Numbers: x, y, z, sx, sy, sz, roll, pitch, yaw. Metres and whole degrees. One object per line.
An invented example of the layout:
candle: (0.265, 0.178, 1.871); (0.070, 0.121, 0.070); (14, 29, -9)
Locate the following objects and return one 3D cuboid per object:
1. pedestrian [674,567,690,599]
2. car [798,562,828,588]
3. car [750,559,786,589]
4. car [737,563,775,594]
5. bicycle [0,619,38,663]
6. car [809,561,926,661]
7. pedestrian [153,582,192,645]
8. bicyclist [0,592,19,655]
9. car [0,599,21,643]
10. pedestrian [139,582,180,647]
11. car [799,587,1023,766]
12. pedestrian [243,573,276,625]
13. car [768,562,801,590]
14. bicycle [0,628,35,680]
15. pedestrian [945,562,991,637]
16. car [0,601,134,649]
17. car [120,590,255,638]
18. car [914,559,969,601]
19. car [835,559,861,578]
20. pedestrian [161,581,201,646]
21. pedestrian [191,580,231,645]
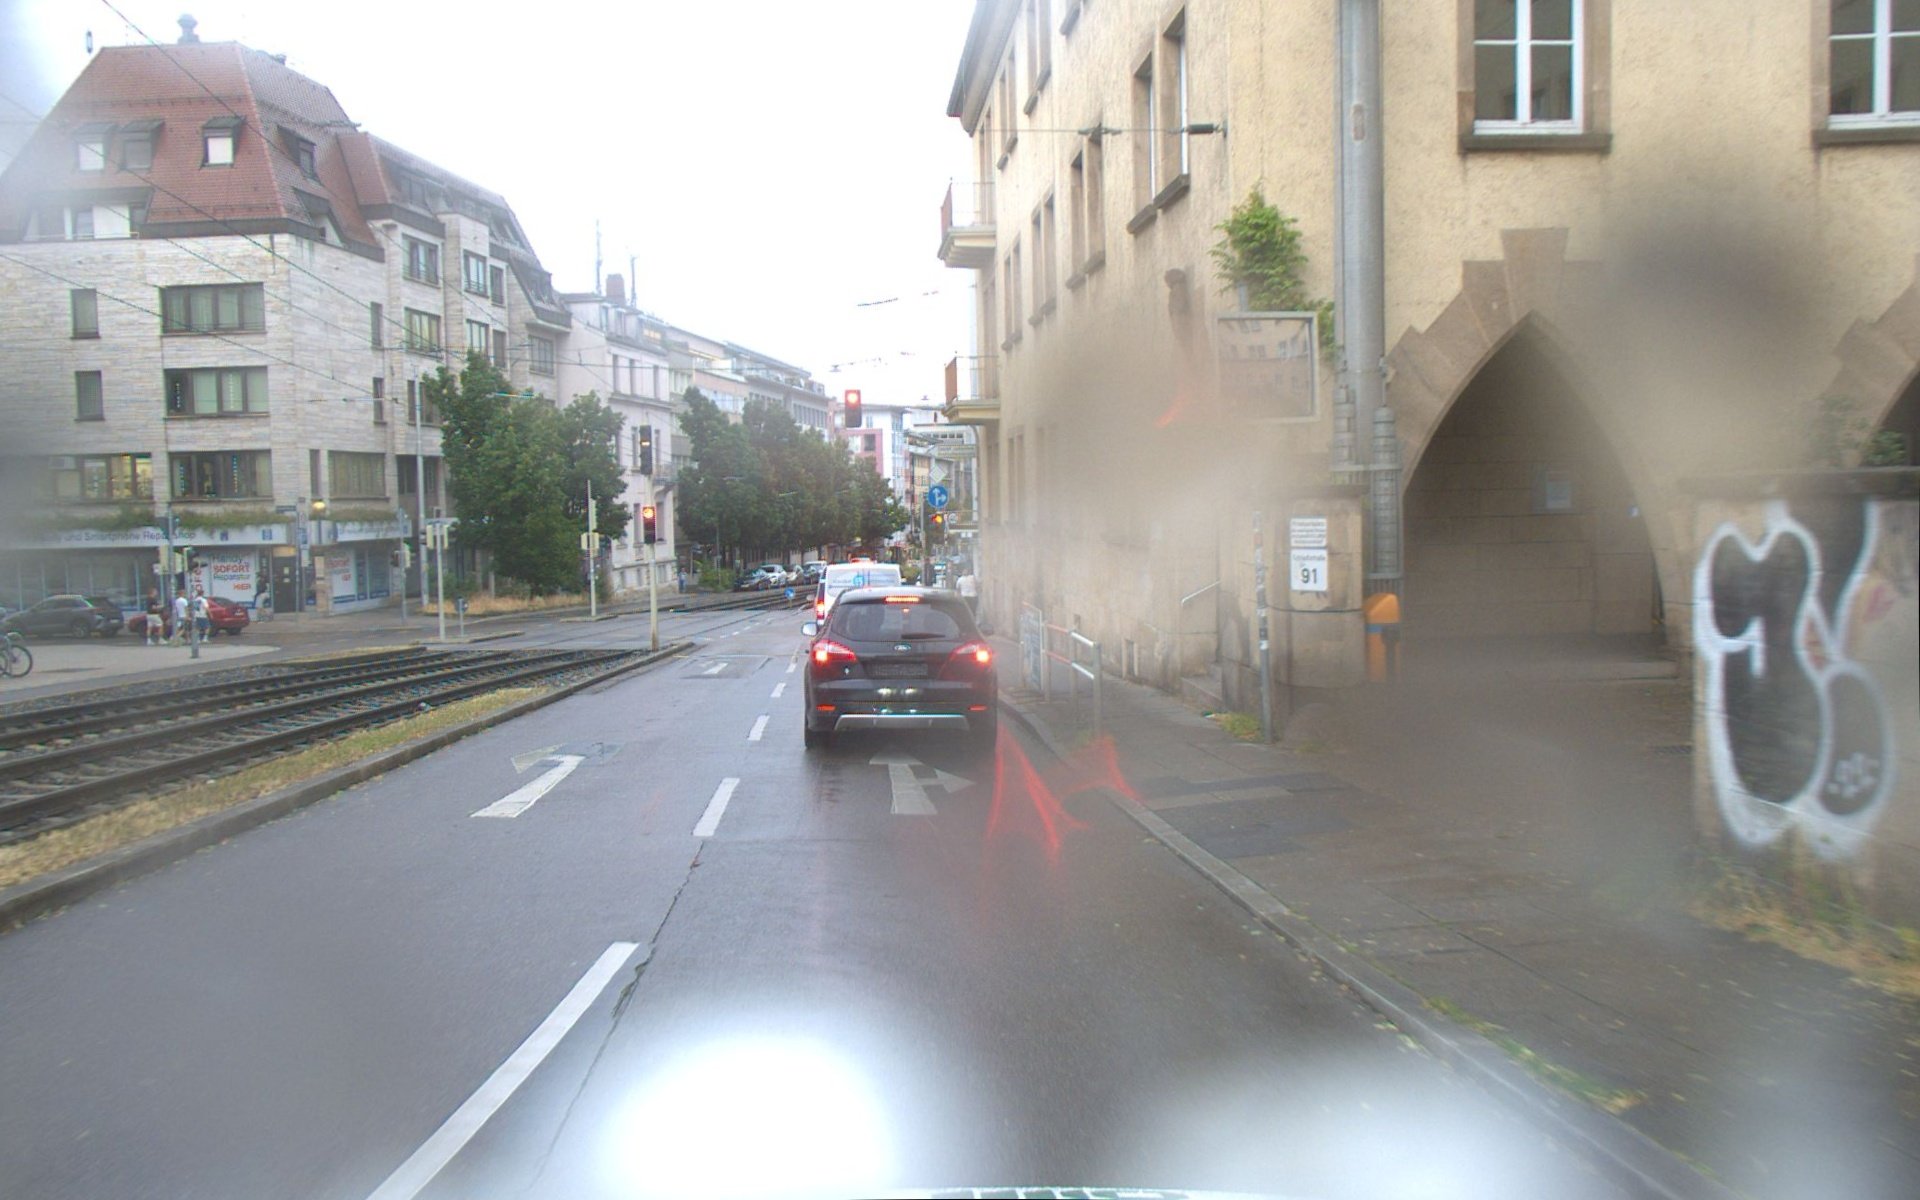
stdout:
pedestrian: (-17.777, -1.094, 105.726); (0.925, 2.049, 0.762); (-1, 1, -14)
car: (-12.048, -2.027, 135.532); (1.952, 2.048, 4.001); (-1, 1, 1)
car: (-13.672, -1.844, 117.974); (1.952, 2.048, 4.001); (-1, 1, 1)
car: (-13.707, -1.464, 111.405); (1.952, 2.048, 4.001); (-1, 1, 1)
bicycle: (-24.597, 1.060, 42.461); (0.446, 1.082, 1.804); (0, 1, 16)
car: (-1.909, 0.162, 32.967); (2.096, 1.775, 4.213); (-2, 1, -6)
pedestrian: (-26.162, 0.434, 54.979); (0.924, 2.049, 0.763); (-1, 1, -8)
bicyclist: (-24.616, 0.612, 42.424); (0.451, 1.601, 0.702); (-1, 0, 15)
car: (-37.385, 0.821, 61.029); (4.365, 1.596, 1.909); (-1, 1, 5)
pedestrian: (-25.990, 0.459, 53.709); (0.924, 2.049, 0.763); (-1, 1, -8)
car: (-0.609, 0.651, 16.285); (1.883, 1.505, 3.995); (1, 0, -6)
pedestrian: (-27.245, -0.043, 64.320); (0.888, 1.965, 0.824); (-2, 1, -8)
car: (-13.207, -1.835, 124.585); (1.952, 2.048, 4.001); (-1, 1, 1)
bicycle: (-20.467, 1.130, 34.467); (1.915, 1.045, 0.719); (-1, 1, -13)
pedestrian: (0.187, -0.025, 41.418); (1.025, 1.826, 0.901); (-1, 1, -6)
car: (-32.787, 0.908, 60.705); (4.046, 1.596, 1.824); (-1, 1, 5)
car: (-28.038, 0.507, 60.086); (4.046, 1.596, 1.824); (-1, 1, 5)
car: (-0.795, -0.919, 75.003); (1.951, 1.803, 4.003); (-1, 1, 7)
car: (-10.062, -2.829, 148.691); (1.952, 1.691, 4.001); (-1, 1, 1)
pedestrian: (-25.119, 0.437, 53.359); (0.924, 2.049, 0.763); (-1, 1, -8)
pedestrian: (-24.145, 0.400, 53.336); (0.923, 2.049, 0.764); (-1, 1, -4)
